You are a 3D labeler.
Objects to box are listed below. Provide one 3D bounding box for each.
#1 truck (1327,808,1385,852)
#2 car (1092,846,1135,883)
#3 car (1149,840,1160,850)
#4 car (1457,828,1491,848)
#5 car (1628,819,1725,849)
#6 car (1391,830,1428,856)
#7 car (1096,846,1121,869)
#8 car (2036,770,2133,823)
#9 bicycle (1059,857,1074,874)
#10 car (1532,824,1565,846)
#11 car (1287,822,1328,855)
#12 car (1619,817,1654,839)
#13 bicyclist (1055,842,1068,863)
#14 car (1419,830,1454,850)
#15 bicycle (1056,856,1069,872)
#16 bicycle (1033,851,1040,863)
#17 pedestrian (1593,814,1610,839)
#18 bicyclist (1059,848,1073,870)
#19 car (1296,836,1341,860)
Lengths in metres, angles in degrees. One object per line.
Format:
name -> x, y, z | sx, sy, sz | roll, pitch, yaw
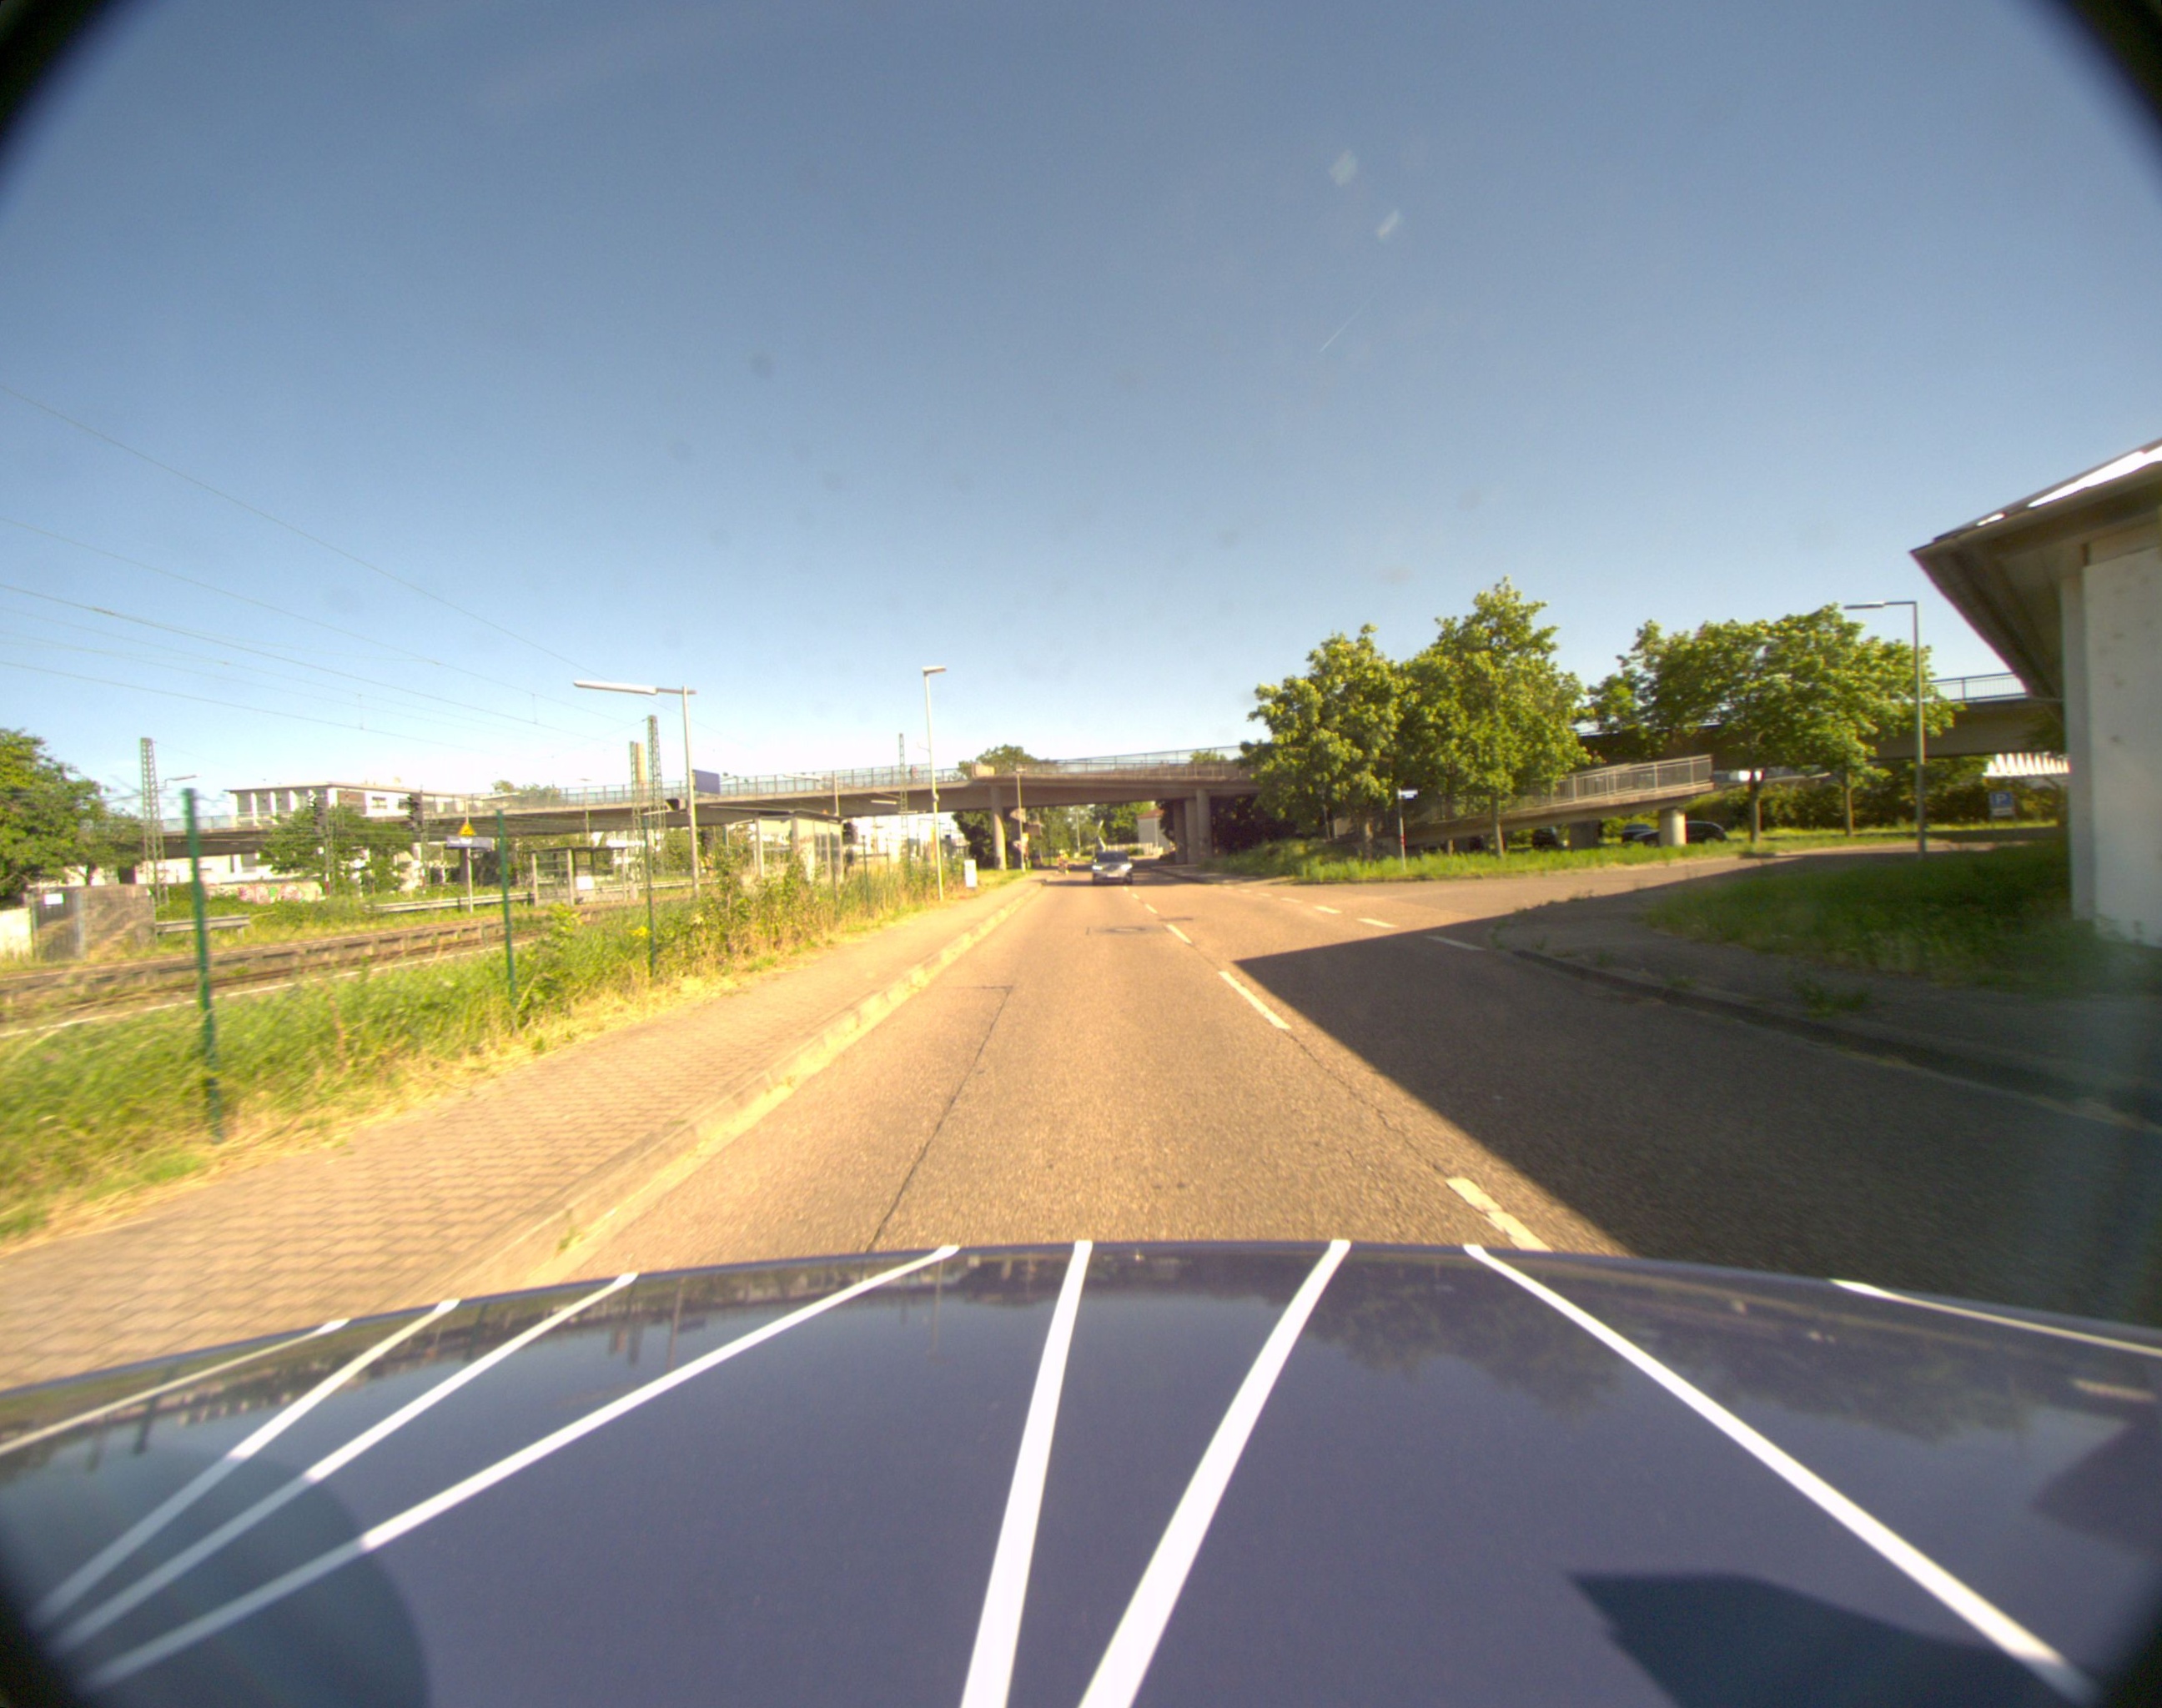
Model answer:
truck -> 23.833, -2.088, 65.529 | 2.476, 3.531, 7.982 | -2, 1, 36
car -> 1.478, 0.444, 35.943 | 1.850, 1.621, 4.294 | -1, 1, 0
car -> 13.819, -1.676, 143.443 | 1.998, 1.767, 4.367 | -3, 1, 6
car -> 30.410, -1.244, 58.681 | 1.735, 1.434, 4.258 | -2, 1, 35
car -> 34.334, -1.139, 43.958 | 4.287, 1.543, 1.686 | -2, 1, 36
car -> 21.497, -0.753, 49.670 | 1.679, 1.543, 4.306 | -2, 1, 30
car -> 2.188, 0.269, 60.163 | 1.850, 1.621, 4.295 | -3, 1, 2
car -> 53.057, -2.967, 40.314 | 1.994, 2.492, 6.417 | -2, 1, 43
bicycle -> -0.980, 0.778, 51.353 | 0.843, 1.045, 2.188 | -3, 1, -5
car -> 34.610, -1.434, 56.196 | 1.735, 1.434, 4.258 | -2, 1, 35
car -> 19.555, -1.320, 65.368 | 1.942, 2.666, 6.020 | -2, 0, 30
car -> 38.586, -1.822, 52.736 | 1.735, 1.434, 4.258 | -2, 1, 38
bicyclist -> -1.392, -0.107, 54.728 | 0.843, 1.480, 0.923 | -3, 1, -2
car -> 28.166, -1.119, 60.118 | 1.735, 1.434, 4.258 | -2, 1, 35
bicycle -> -1.353, 0.730, 54.672 | 0.843, 1.045, 2.189 | -3, 1, -2
bicycle -> -4.671, 0.319, 79.129 | 0.599, 1.175, 2.180 | -2, 1, -5
pedestrian -> 35.584, -1.863, 51.926 | 0.667, 1.653, 0.711 | -2, 1, 11
bicyclist -> -0.991, 0.339, 51.275 | 0.843, 1.480, 0.923 | -3, 1, -4
car -> 16.779, -0.459, 53.583 | 1.864, 1.632, 4.290 | 1, 2, 35
